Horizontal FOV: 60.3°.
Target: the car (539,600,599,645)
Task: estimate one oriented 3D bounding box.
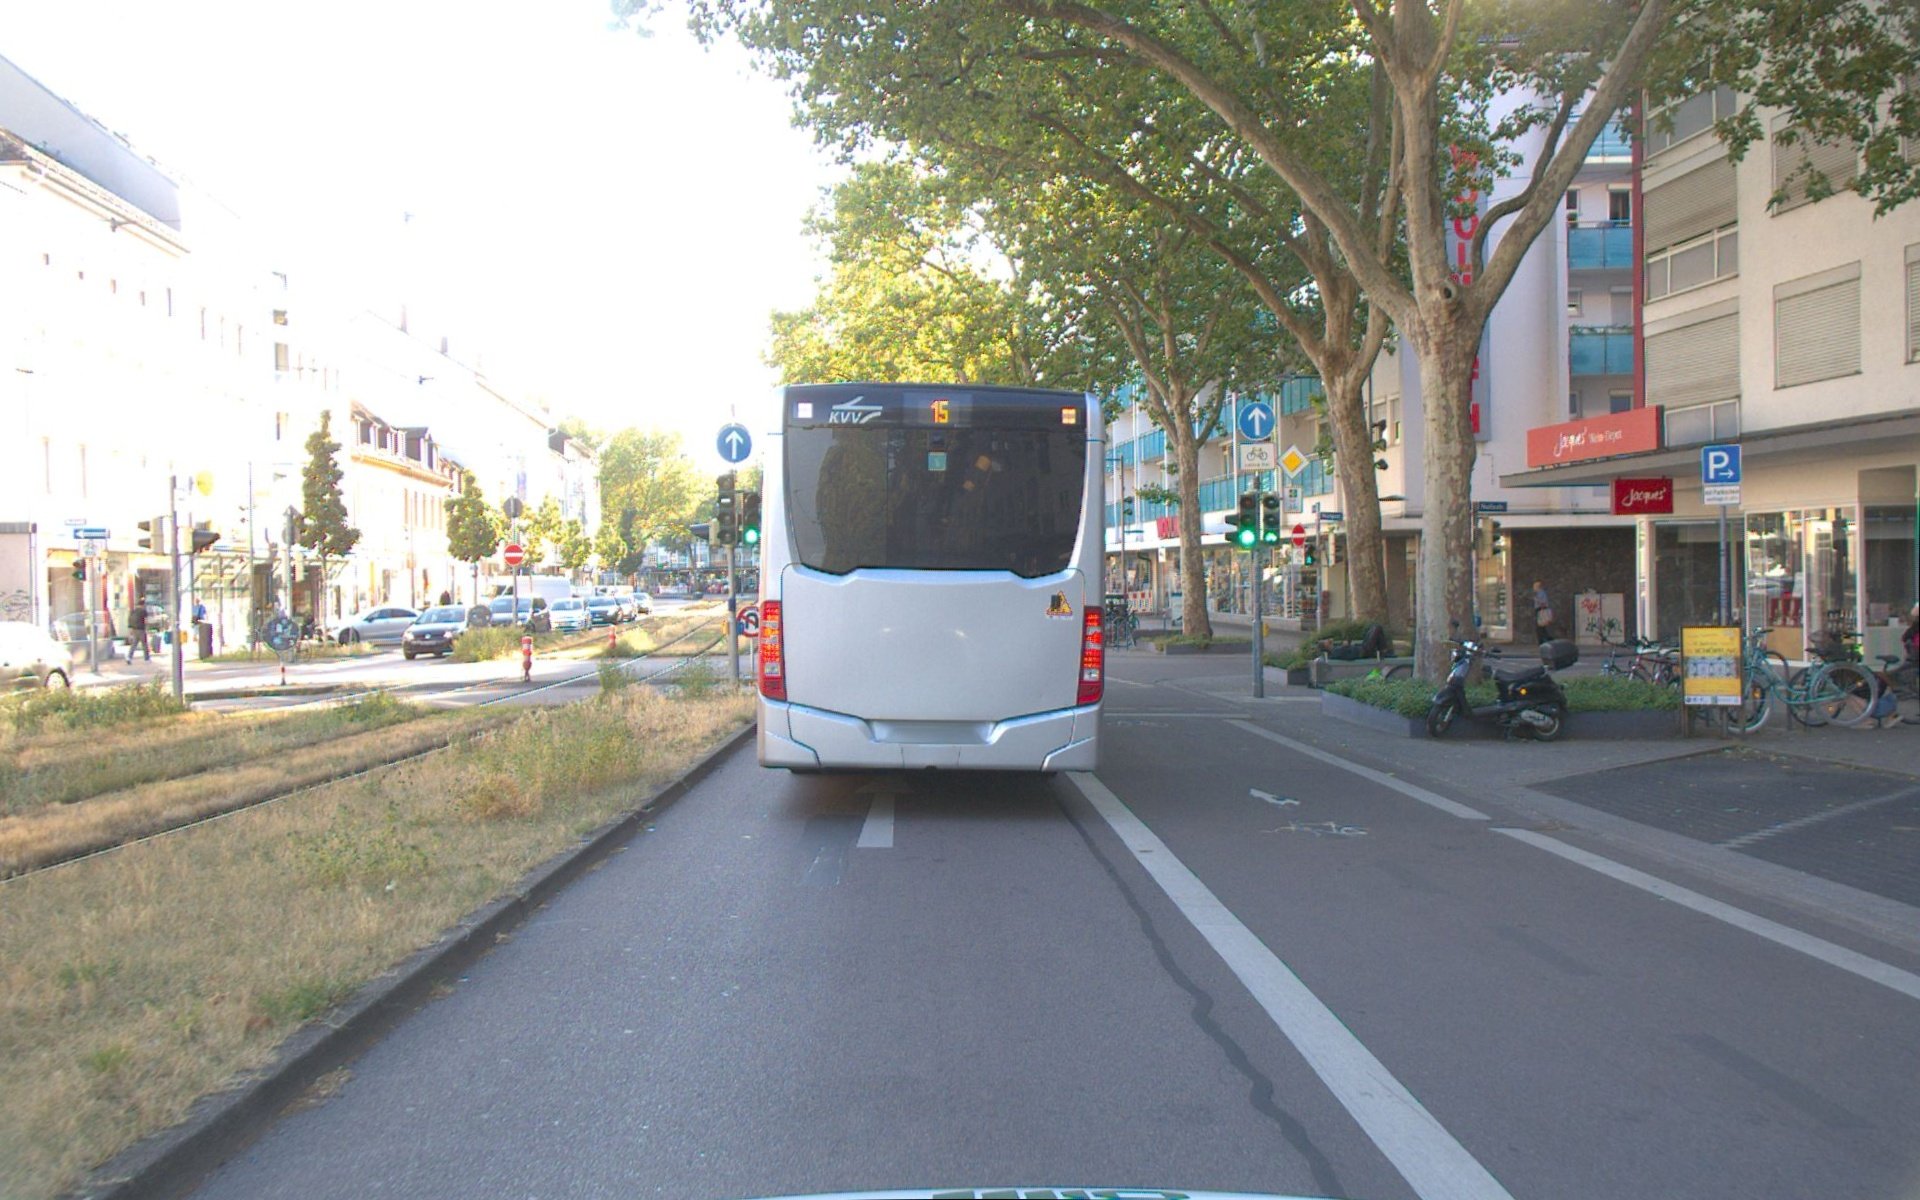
[{"bbox_3d":[-16.616,0.932,70.442,1.860,1.836,3.997,-1,0,-4],"label":"car"}]

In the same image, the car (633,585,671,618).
[{"bbox_3d":[-19.959,0.089,107.319,1.954,2.049,3.997,-1,0,-4],"label":"car"}]

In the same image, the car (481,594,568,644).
[{"bbox_3d":[-15.214,0.626,58.001,1.744,1.643,4.509,1,0,1],"label":"car"}]

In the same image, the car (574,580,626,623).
[{"bbox_3d":[-17.982,0.067,82.712,1.954,2.049,3.997,-1,0,-4],"label":"car"}]

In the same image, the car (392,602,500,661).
[{"bbox_3d":[-14.887,0.880,48.121,1.744,1.475,4.045,-3,1,1],"label":"car"}]

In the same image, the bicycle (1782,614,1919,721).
[{"bbox_3d":[10.801,0.791,19.610,1.727,1.174,0.679,-2,0,8],"label":"bicycle"}]

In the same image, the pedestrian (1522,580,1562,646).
[{"bbox_3d":[15.446,0.331,43.908,0.733,1.708,0.834,-1,2,-7],"label":"pedestrian"}]

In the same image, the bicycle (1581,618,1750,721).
[{"bbox_3d":[9.216,0.901,21.663,1.836,1.210,0.712,-4,-1,7],"label":"bicycle"}]

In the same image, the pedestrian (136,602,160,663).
[{"bbox_3d":[-23.263,0.918,47.398,0.417,1.743,0.508,-1,0,3],"label":"pedestrian"}]

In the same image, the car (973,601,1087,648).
[{"bbox_3d":[2.470,0.833,57.944,1.964,1.557,3.978,-1,0,41],"label":"car"}]

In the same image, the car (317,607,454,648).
[{"bbox_3d":[-21.608,1.011,62.237,4.505,1.437,1.973,-1,0,-38],"label":"car"}]

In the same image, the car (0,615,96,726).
[{"bbox_3d":[-14.843,1.043,24.202,1.953,1.586,4.773,-1,0,-1],"label":"car"}]

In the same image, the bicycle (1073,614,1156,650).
[{"bbox_3d":[4.457,0.915,47.789,2.267,0.956,0.835,-1,1,-9],"label":"bicycle"}]

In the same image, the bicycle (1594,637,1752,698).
[{"bbox_3d":[9.669,0.911,22.470,1.836,0.779,0.712,-1,0,7],"label":"bicycle"}]

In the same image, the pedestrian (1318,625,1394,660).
[{"bbox_3d":[7.018,0.747,29.303,1.229,0.599,0.482,0,0,-3],"label":"pedestrian"}]

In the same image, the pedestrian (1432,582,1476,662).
[{"bbox_3d":[11.516,0.501,38.552,0.764,1.825,0.764,-1,0,-1],"label":"pedestrian"}]

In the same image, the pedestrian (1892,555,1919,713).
[{"bbox_3d":[11.886,0.409,20.019,0.632,1.909,0.821,-1,0,-14],"label":"pedestrian"}]

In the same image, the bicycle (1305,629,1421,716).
[{"bbox_3d":[5.641,1.011,23.191,1.479,1.124,0.460,3,0,-1],"label":"bicycle"}]

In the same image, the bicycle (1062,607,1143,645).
[{"bbox_3d":[4.209,0.771,49.001,2.267,1.046,0.835,-1,1,-9],"label":"bicycle"}]

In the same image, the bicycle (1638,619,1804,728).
[{"bbox_3d":[9.500,0.906,20.659,1.753,1.210,0.671,-4,-1,-10],"label":"bicycle"}]

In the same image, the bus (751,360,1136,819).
[{"bbox_3d":[-0.101,-0.093,14.910,2.623,3.137,7.114,0,0,0],"label":"bus"}]

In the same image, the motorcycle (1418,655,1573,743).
[{"bbox_3d":[5.947,1.090,18.405,1.539,0.908,0.544,-1,0,-4],"label":"motorcycle"}]

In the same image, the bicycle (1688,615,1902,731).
[{"bbox_3d":[9.672,0.832,19.220,2.037,1.254,0.832,-2,0,4],"label":"bicycle"}]
